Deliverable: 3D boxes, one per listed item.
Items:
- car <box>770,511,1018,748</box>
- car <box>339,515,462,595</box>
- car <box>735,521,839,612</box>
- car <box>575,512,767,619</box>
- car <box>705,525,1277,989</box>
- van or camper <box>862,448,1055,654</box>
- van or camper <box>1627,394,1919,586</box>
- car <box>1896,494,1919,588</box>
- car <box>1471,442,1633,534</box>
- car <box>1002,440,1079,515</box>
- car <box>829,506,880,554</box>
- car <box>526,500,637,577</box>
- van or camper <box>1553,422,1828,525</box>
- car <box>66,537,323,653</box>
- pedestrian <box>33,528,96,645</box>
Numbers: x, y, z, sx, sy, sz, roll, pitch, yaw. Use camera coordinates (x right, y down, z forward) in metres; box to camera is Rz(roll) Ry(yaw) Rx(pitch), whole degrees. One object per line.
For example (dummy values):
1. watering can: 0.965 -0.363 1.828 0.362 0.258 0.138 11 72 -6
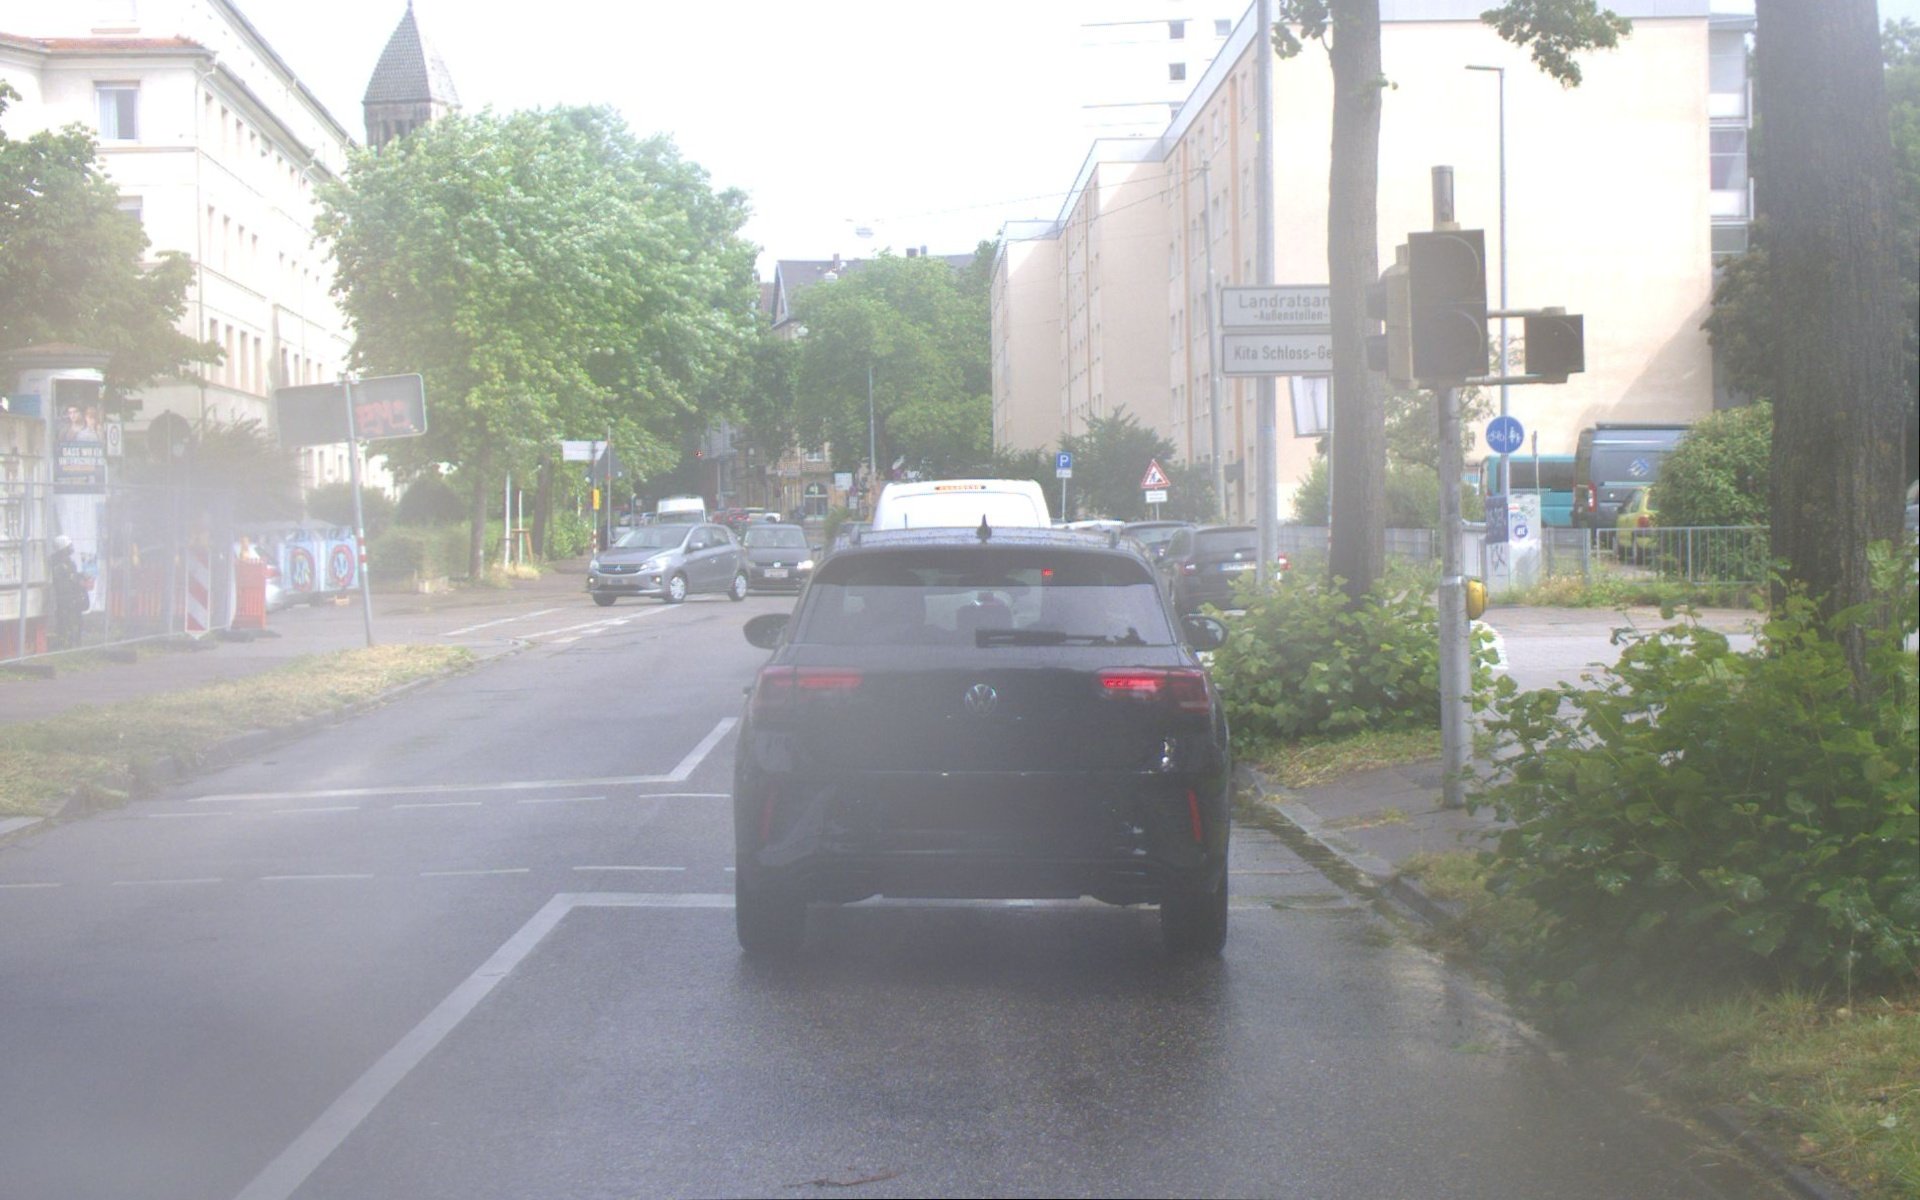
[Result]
1. car: -0.472 0.196 28.014 1.680 1.702 3.909 -3 1 3
2. car: -11.783 -0.964 72.614 1.591 1.507 3.731 -4 2 5
3. car: -3.516 -0.708 70.327 1.789 1.678 4.136 -4 2 0
4. car: -5.201 -0.661 62.476 1.790 1.678 4.483 -3 2 18
5. car: 0.112 0.482 13.444 1.895 1.517 4.000 0 1 0
6. van or camper: 0.020 -0.518 34.461 1.819 1.941 4.195 0 2 1
7. van or camper: 12.329 -1.588 49.297 5.032 2.587 2.168 -2 1 -1
8. car: 18.241 -1.120 62.313 1.743 1.678 3.870 -4 1 6
9. car: 13.101 -2.476 76.218 3.408 1.775 1.759 -4 1 9
10. car: 2.193 -3.348 94.634 1.993 2.007 4.000 0 1 -1
11. car: -3.569 -2.372 116.469 1.591 1.507 3.732 -4 2 -2
12. car: -8.202 -1.361 74.799 1.591 1.507 3.731 -4 2 5
13. van or camper: 14.079 -2.444 66.474 4.874 1.919 2.131 0 2 0
14. car: -12.788 -0.094 57.409 3.922 1.645 1.760 -4 1 -19
15. pedestrian: -11.581 -0.179 44.459 0.660 1.480 0.673 -1 2 -25
